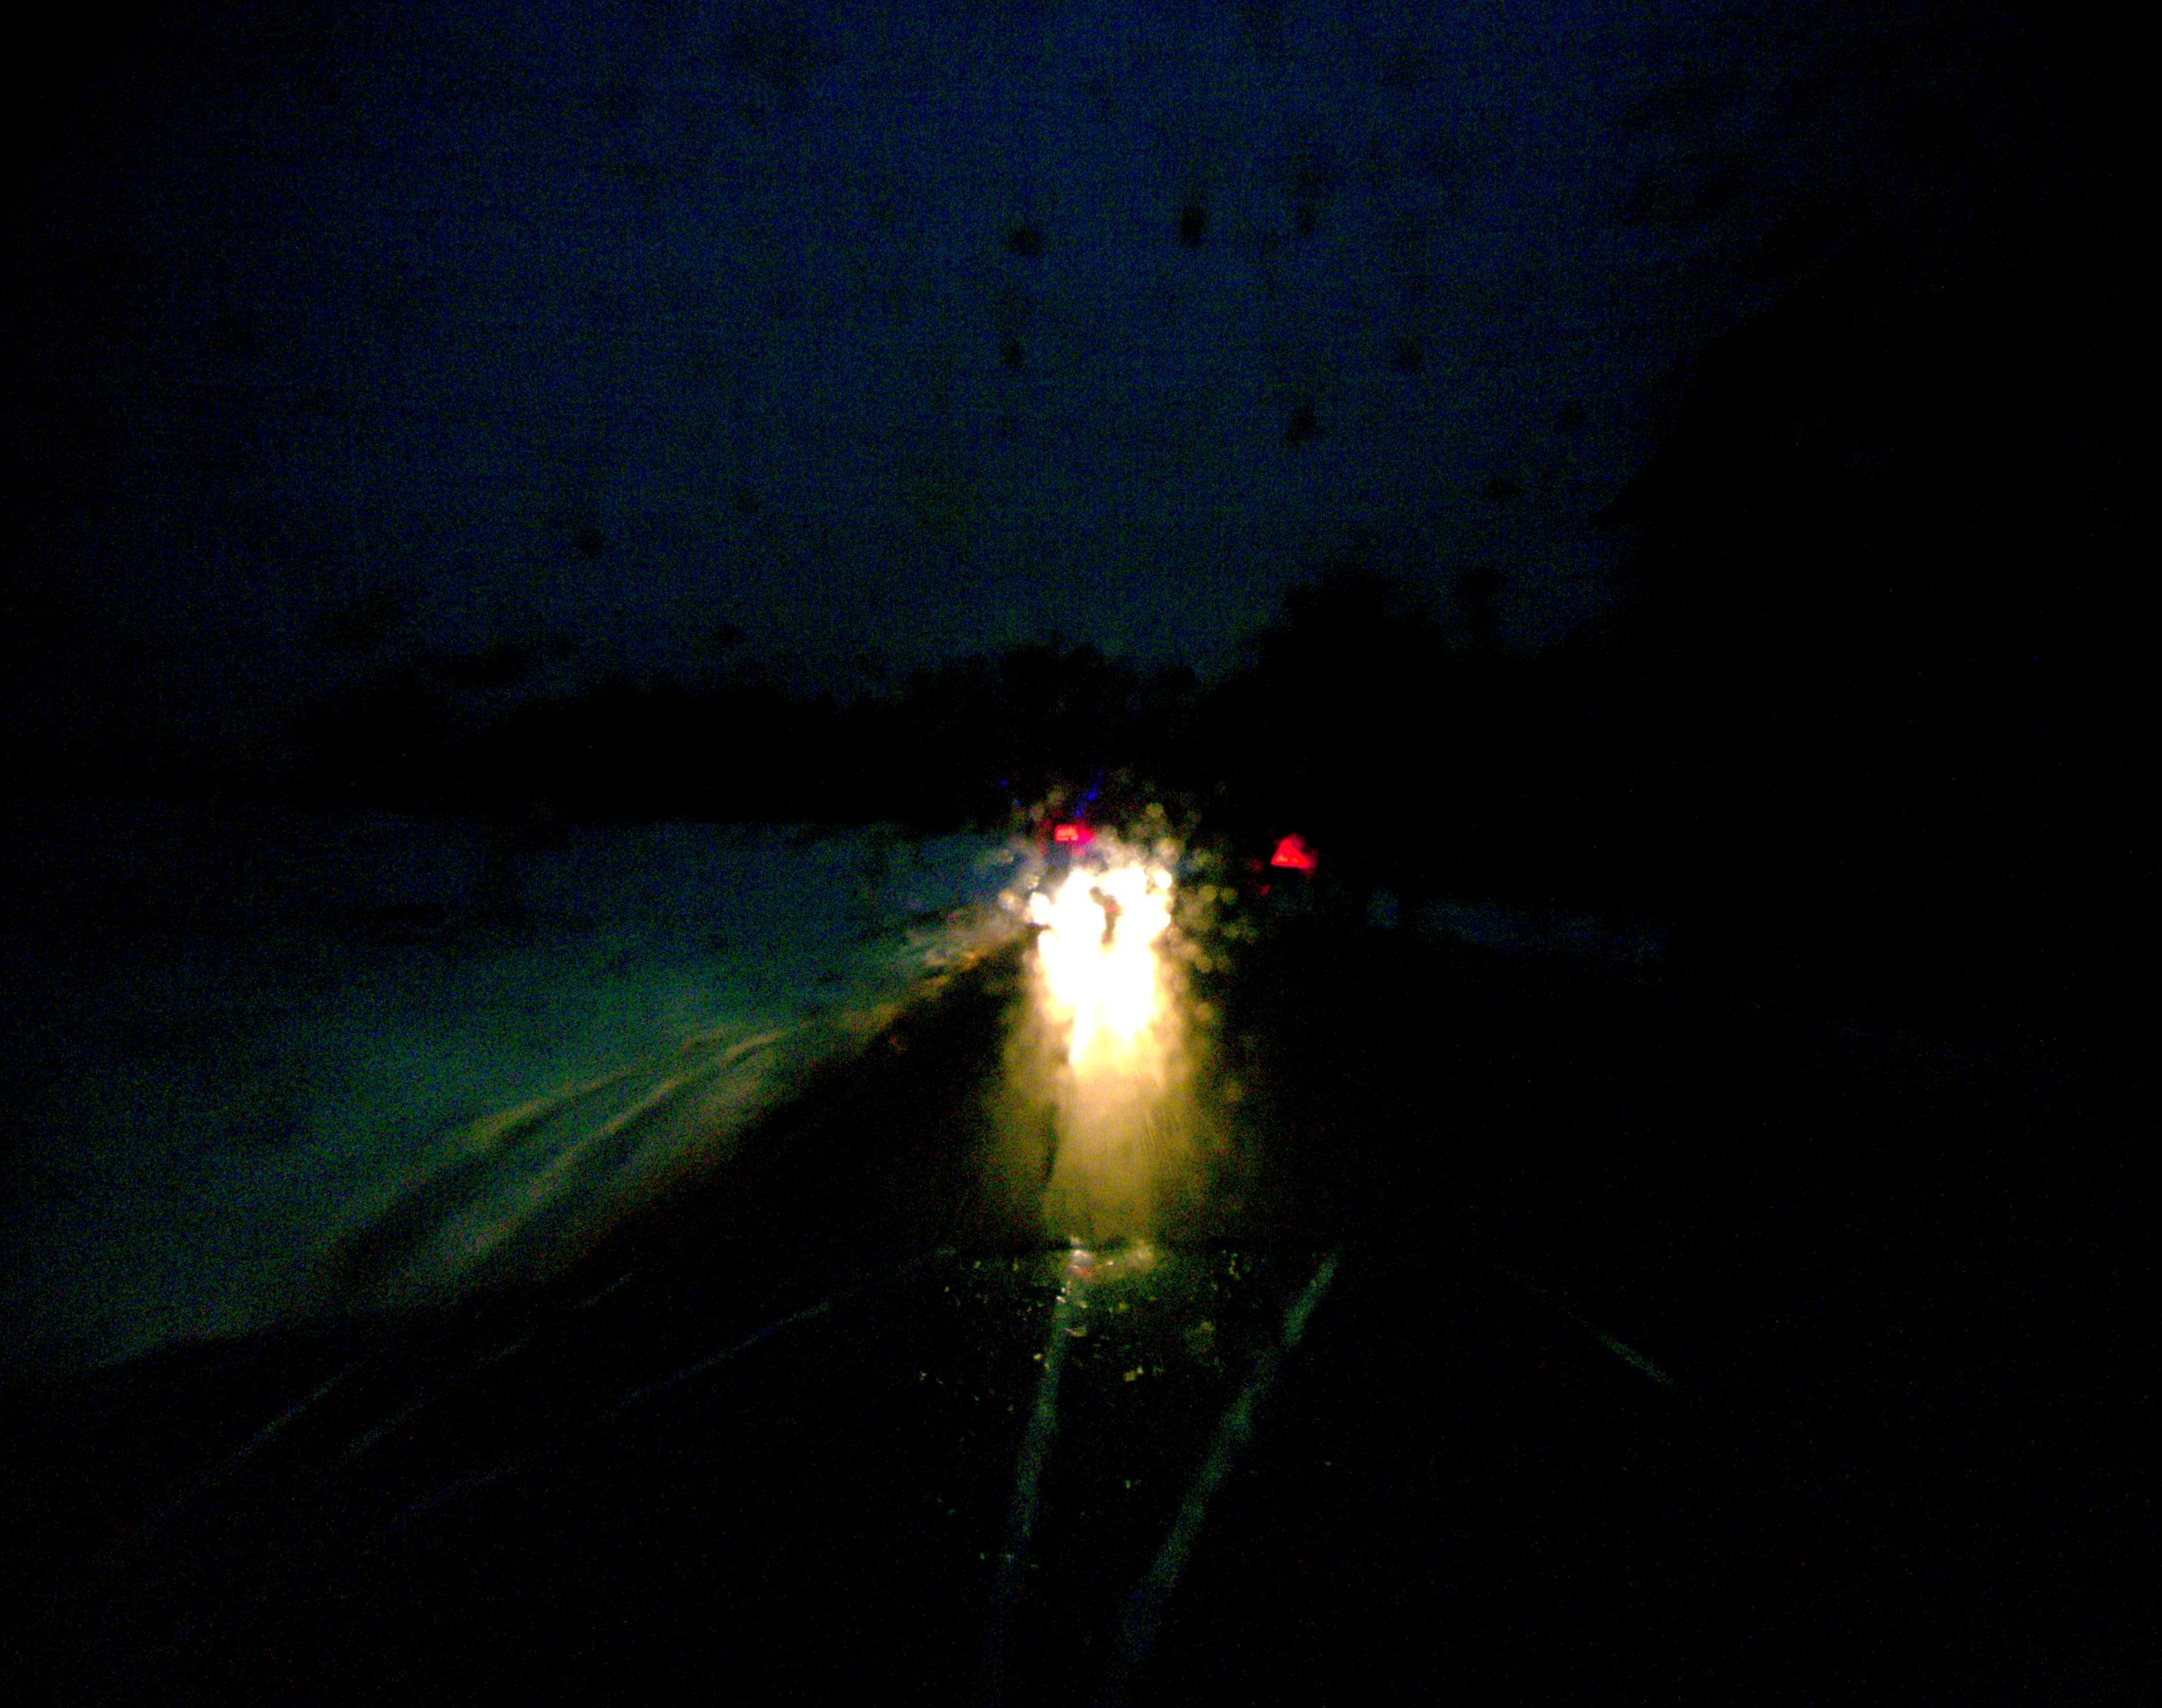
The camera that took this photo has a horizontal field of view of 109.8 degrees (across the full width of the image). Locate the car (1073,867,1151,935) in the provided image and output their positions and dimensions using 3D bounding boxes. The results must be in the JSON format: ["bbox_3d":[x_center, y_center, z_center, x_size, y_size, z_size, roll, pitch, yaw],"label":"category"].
[{"bbox_3d":[0.828,1.050,18.340,1.649,1.446,3.683,-1,-1,6],"label":"car"}]
